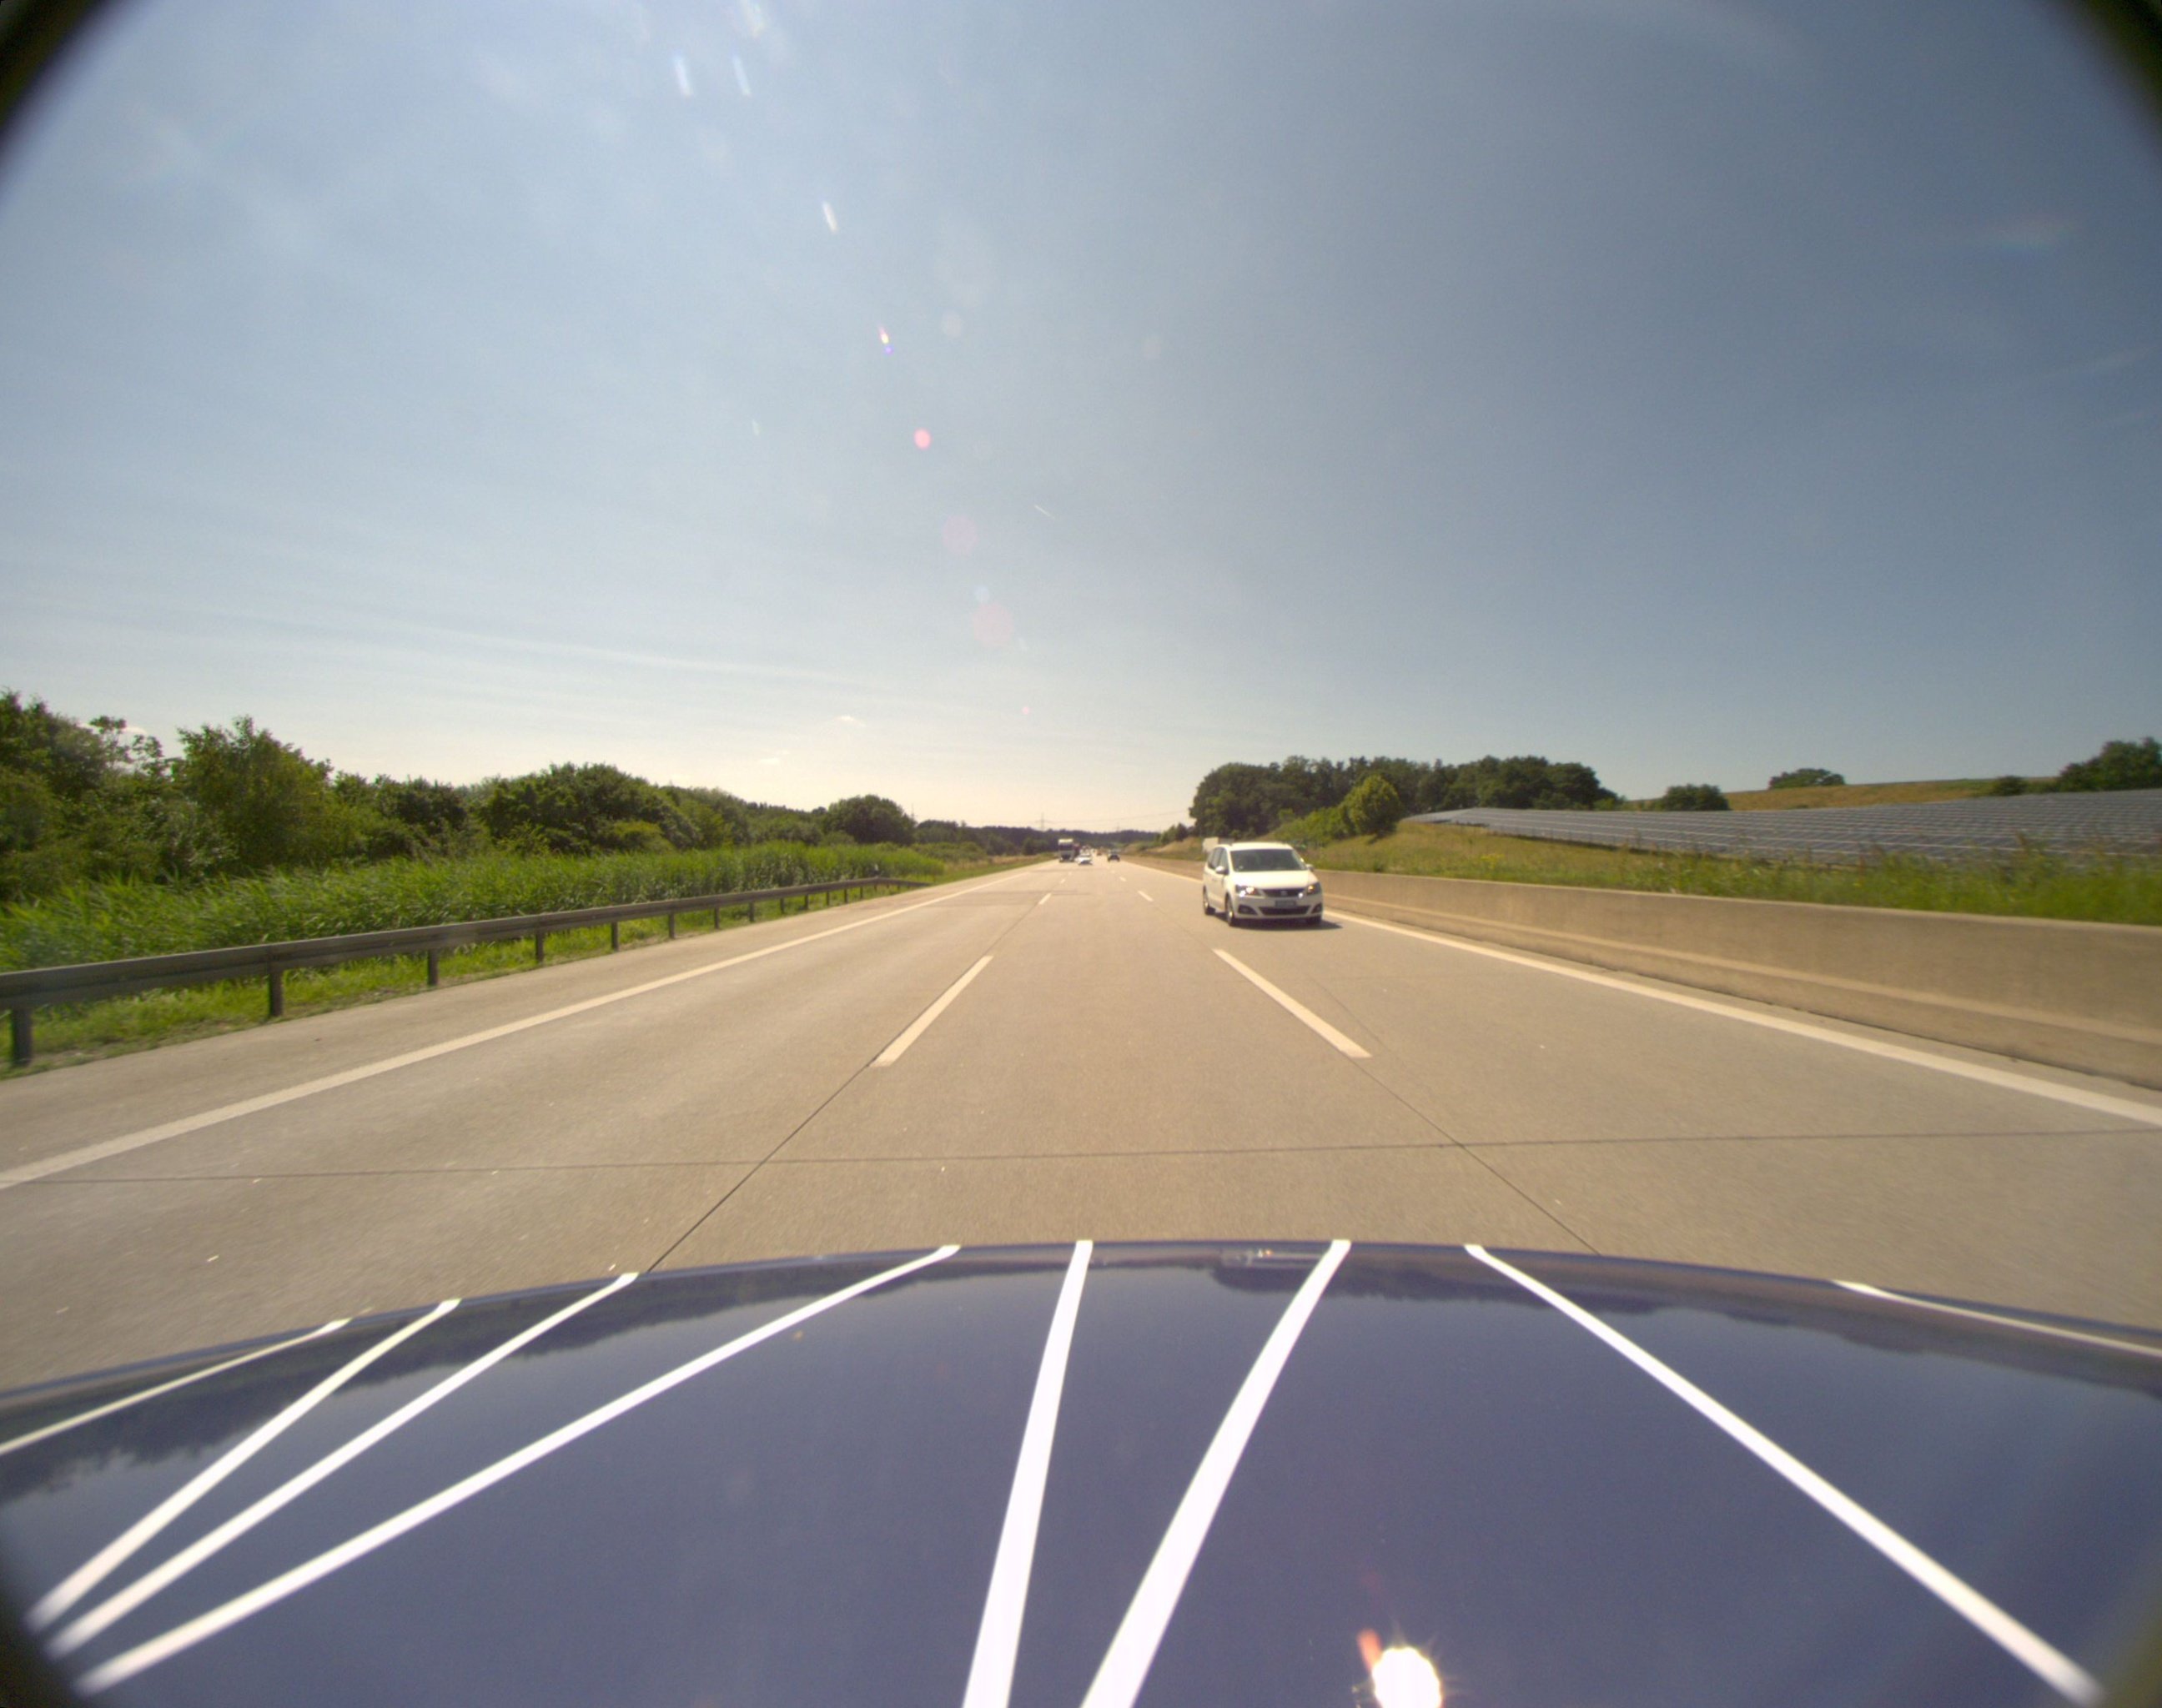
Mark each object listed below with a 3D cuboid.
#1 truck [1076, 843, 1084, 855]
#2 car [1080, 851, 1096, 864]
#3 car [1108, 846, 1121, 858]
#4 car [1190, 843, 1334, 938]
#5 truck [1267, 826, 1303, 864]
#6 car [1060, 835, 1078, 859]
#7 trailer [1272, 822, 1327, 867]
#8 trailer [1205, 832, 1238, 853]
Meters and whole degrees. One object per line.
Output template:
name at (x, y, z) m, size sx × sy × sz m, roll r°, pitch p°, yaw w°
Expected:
truck at (-0.319, -1.441, 226.110) m, size 2.351 × 3.474 × 5.245 m, roll -1°, pitch 1°, yaw 0°
car at (0.926, 0.437, 101.084) m, size 2.065 × 1.472 × 5.068 m, roll -4°, pitch 0°, yaw 0°
car at (5.565, -0.376, 127.476) m, size 1.998 × 1.836 × 6.529 m, roll -3°, pitch 1°, yaw 1°
car at (3.793, 0.646, 17.136) m, size 1.850 × 1.698 × 6.035 m, roll -2°, pitch 1°, yaw 1°
truck at (22.076, -0.932, 82.371) m, size 2.752 × 3.928 × 4.352 m, roll -2°, pitch 1°, yaw 1°
car at (-2.071, -1.217, 135.799) m, size 2.766 × 4.029 × 10.851 m, roll -1°, pitch 1°, yaw 1°
trailer at (21.989, -0.902, 77.195) m, size 2.739 × 4.167 × 10.256 m, roll -1°, pitch 0°, yaw 1°
trailer at (22.413, -1.814, 122.349) m, size 2.839 × 3.165 × 14.504 m, roll -2°, pitch 1°, yaw 1°
